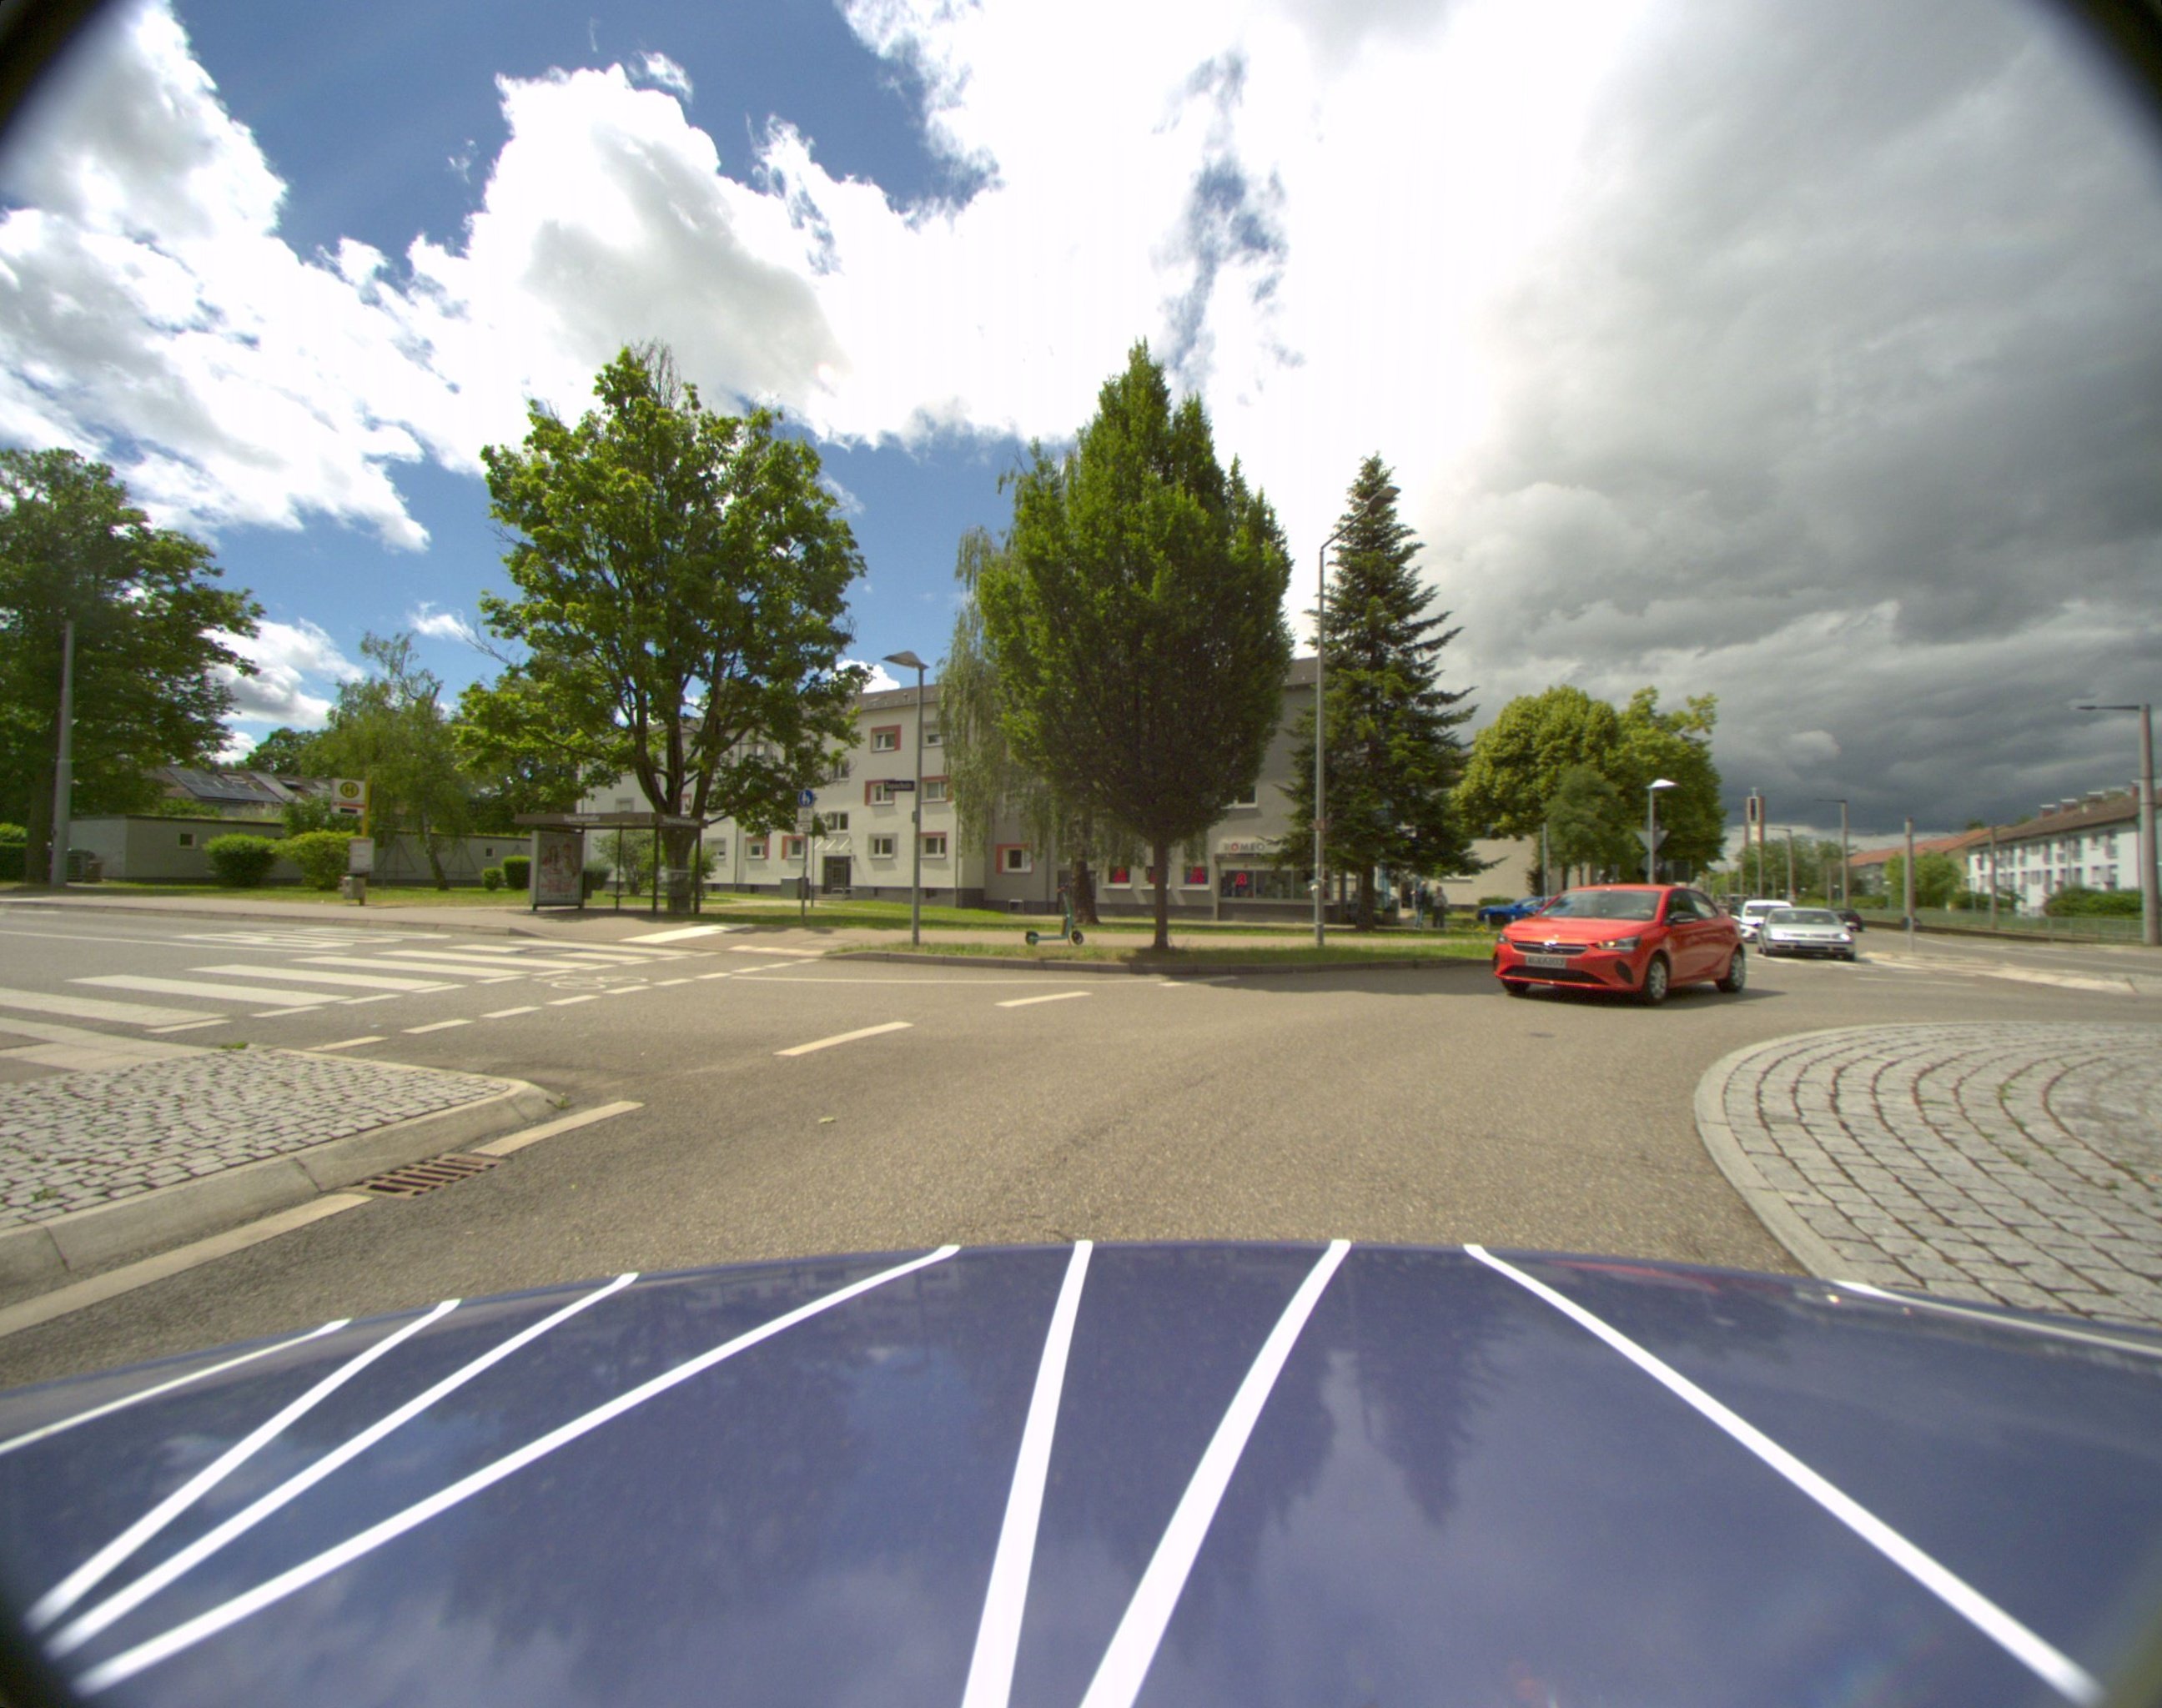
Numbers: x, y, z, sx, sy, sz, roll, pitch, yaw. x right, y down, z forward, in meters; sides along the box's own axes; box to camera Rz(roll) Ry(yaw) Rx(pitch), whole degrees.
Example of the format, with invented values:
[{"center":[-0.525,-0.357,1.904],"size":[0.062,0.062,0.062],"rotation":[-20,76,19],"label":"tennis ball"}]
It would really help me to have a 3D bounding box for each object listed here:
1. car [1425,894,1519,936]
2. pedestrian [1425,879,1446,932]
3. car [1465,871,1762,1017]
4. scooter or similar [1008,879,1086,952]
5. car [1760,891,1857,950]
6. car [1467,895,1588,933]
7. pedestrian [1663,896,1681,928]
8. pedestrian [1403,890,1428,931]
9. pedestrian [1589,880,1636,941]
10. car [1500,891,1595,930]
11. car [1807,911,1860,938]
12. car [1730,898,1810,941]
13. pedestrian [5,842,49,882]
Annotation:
[{"center":[14.138,2.140,27.383],"size":[1.914,1.309,4.010],"rotation":[0,-2,45],"label":"car"},{"center":[13.652,1.969,29.262],"size":[0.654,2.001,1.049],"rotation":[1,-2,28],"label":"pedestrian"},{"center":[7.063,1.062,9.982],"size":[4.008,1.548,1.763],"rotation":[3,-2,-32],"label":"car"},{"center":[-0.654,1.185,14.714],"size":[1.389,1.335,0.485],"rotation":[3,-1,-12],"label":"scooter or similar"},{"center":[19.906,1.757,20.927],"size":[1.760,1.389,4.010],"rotation":[0,-2,41],"label":"car"},{"center":[19.834,2.643,34.004],"size":[4.484,1.236,2.005],"rotation":[3,-1,28],"label":"car"},{"center":[31.468,3.073,40.459],"size":[0.682,1.650,0.833],"rotation":[1,-1,31],"label":"pedestrian"},{"center":[12.736,2.139,28.916],"size":[0.742,1.520,0.693],"rotation":[1,-2,32],"label":"pedestrian"},{"center":[17.363,1.838,24.847],"size":[0.941,1.944,0.843],"rotation":[2,-1,3],"label":"pedestrian"},{"center":[22.245,2.667,36.391],"size":[3.730,1.547,2.037],"rotation":[3,-1,30],"label":"car"},{"center":[46.035,4.282,46.560],"size":[1.854,1.445,4.399],"rotation":[-2,-4,39],"label":"car"},{"center":[28.876,2.676,31.966],"size":[1.994,1.597,4.010],"rotation":[1,-2,35],"label":"car"},{"center":[-42.214,0.327,30.443],"size":[0.658,1.572,0.905],"rotation":[1,-1,29],"label":"pedestrian"}]
